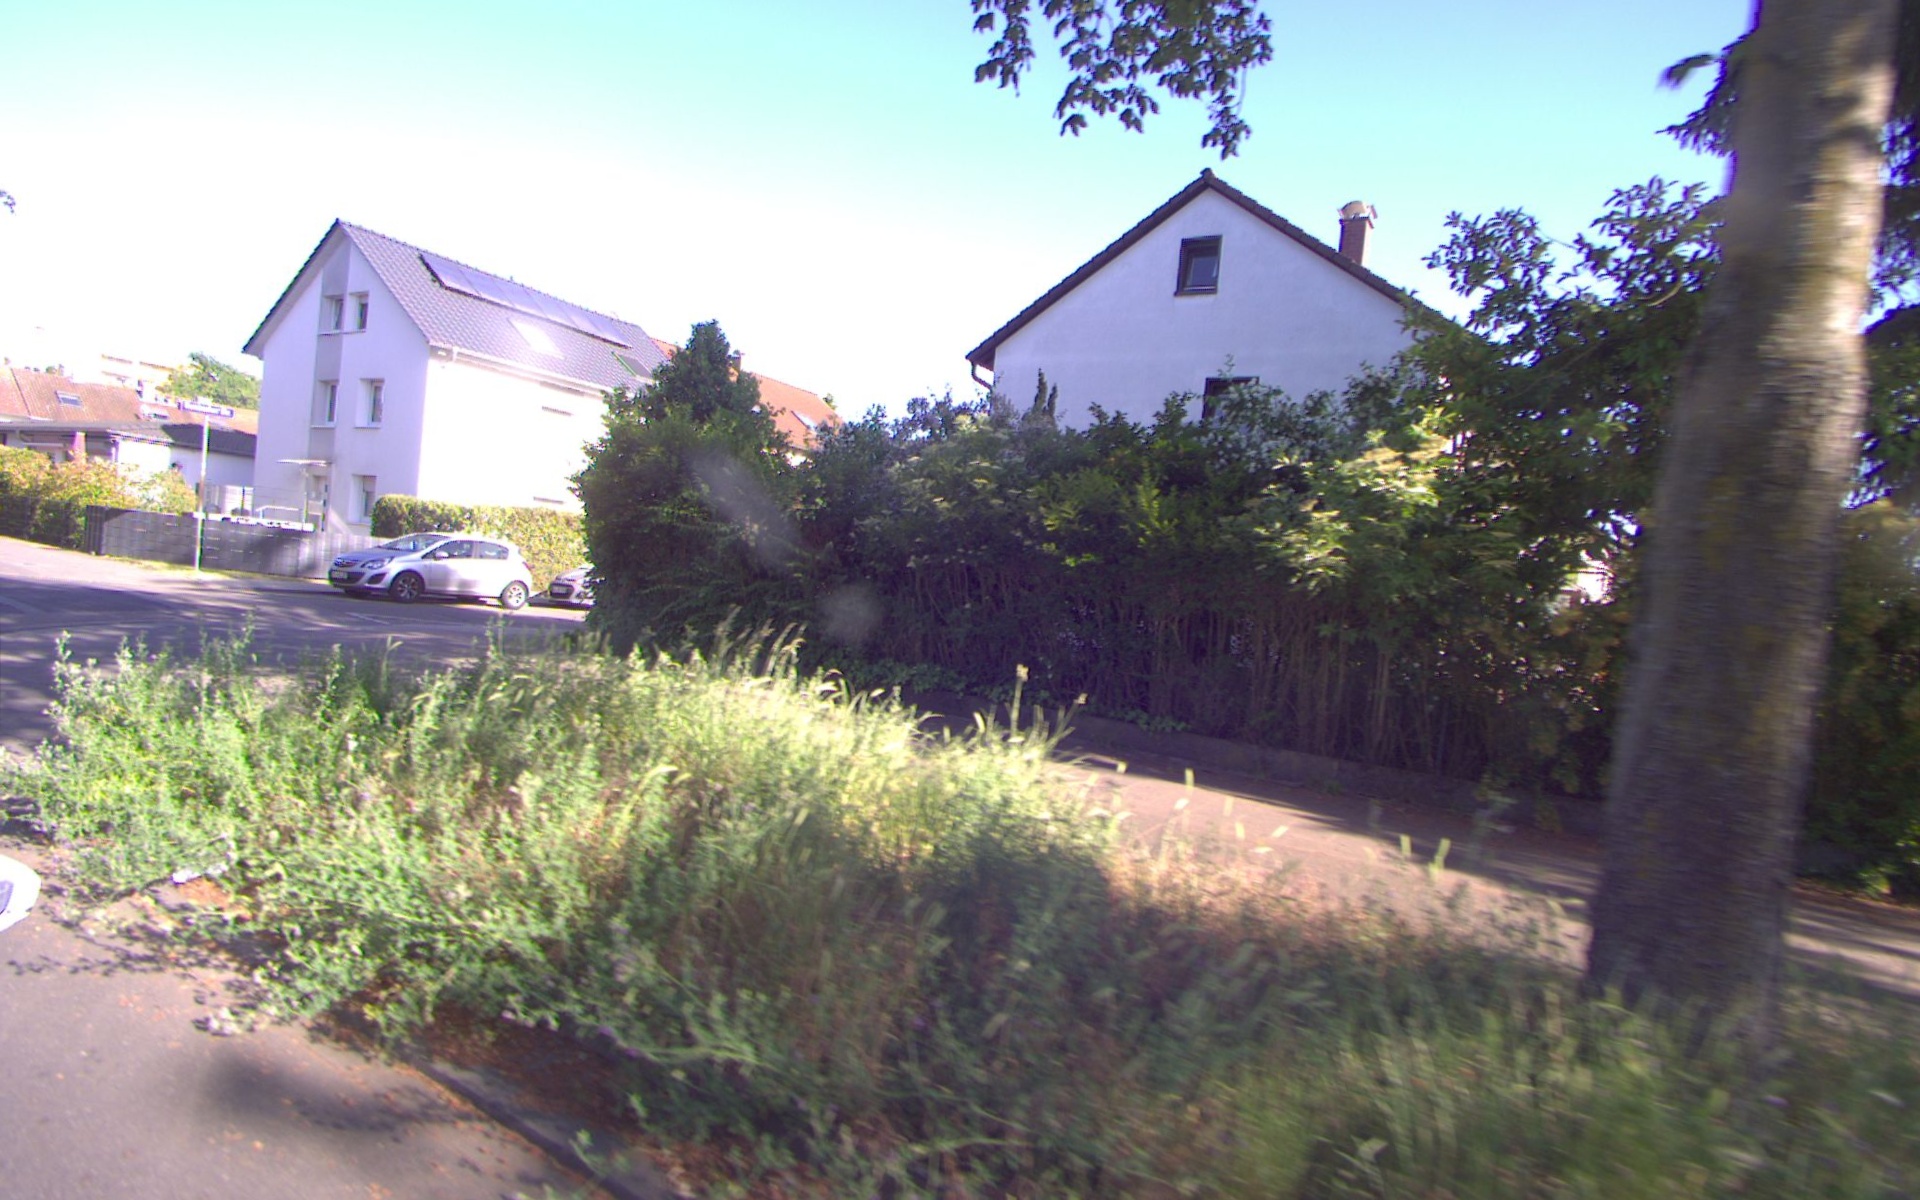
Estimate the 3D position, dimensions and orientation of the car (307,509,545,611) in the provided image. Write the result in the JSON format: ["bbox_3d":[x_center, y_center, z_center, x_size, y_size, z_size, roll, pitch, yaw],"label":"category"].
[{"bbox_3d":[-10.874,-0.752,20.798,1.745,1.661,3.995,7,1,25],"label":"car"}]

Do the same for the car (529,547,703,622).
[{"bbox_3d":[-8.468,-0.335,25.060,1.818,1.462,3.752,7,0,30],"label":"car"}]
